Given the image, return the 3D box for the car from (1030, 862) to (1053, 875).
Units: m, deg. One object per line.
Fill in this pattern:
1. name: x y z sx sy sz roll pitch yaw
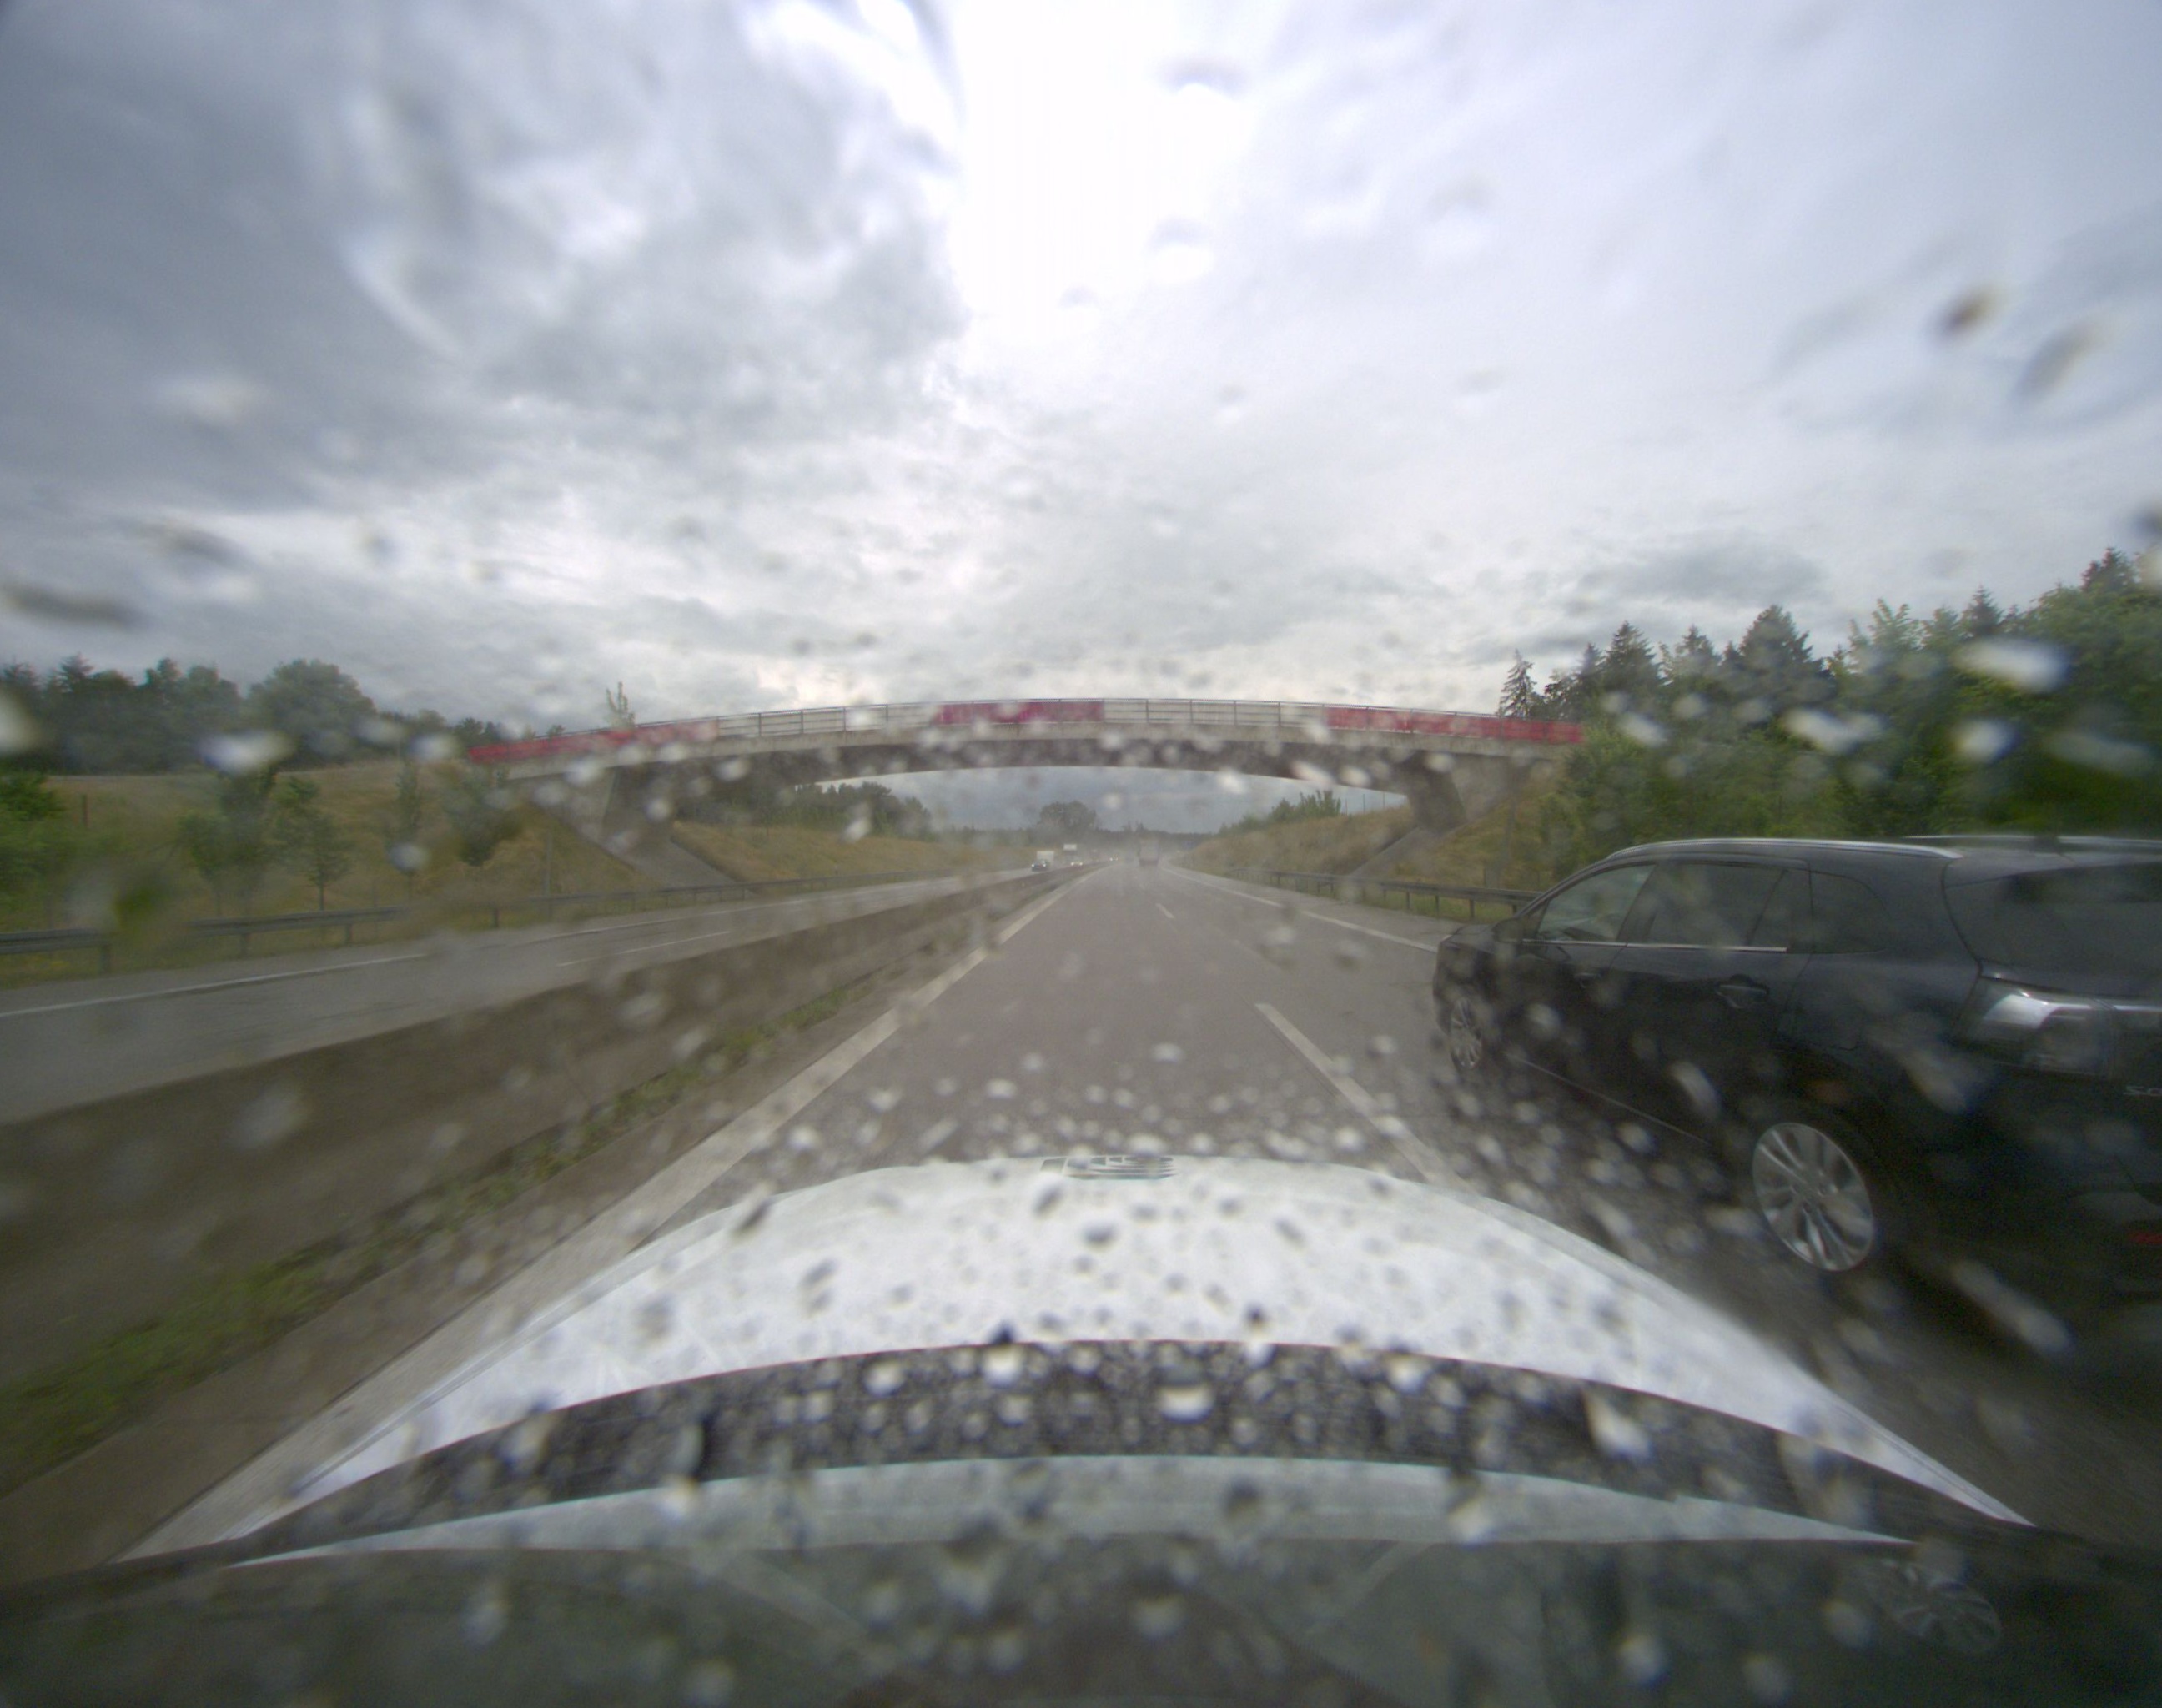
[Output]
1. car: -4.919 1.775 101.319 2.277 1.557 5.186 1 0 3

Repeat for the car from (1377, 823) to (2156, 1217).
1. car: 3.410 0.663 5.090 1.887 1.576 3.633 0 0 1

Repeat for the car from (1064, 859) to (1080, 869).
1. car: -1.314 1.406 117.357 1.985 1.311 4.515 -1 0 3

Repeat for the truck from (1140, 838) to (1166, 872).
1. truck: 9.924 0.130 111.648 3.227 4.437 8.261 -1 1 6
